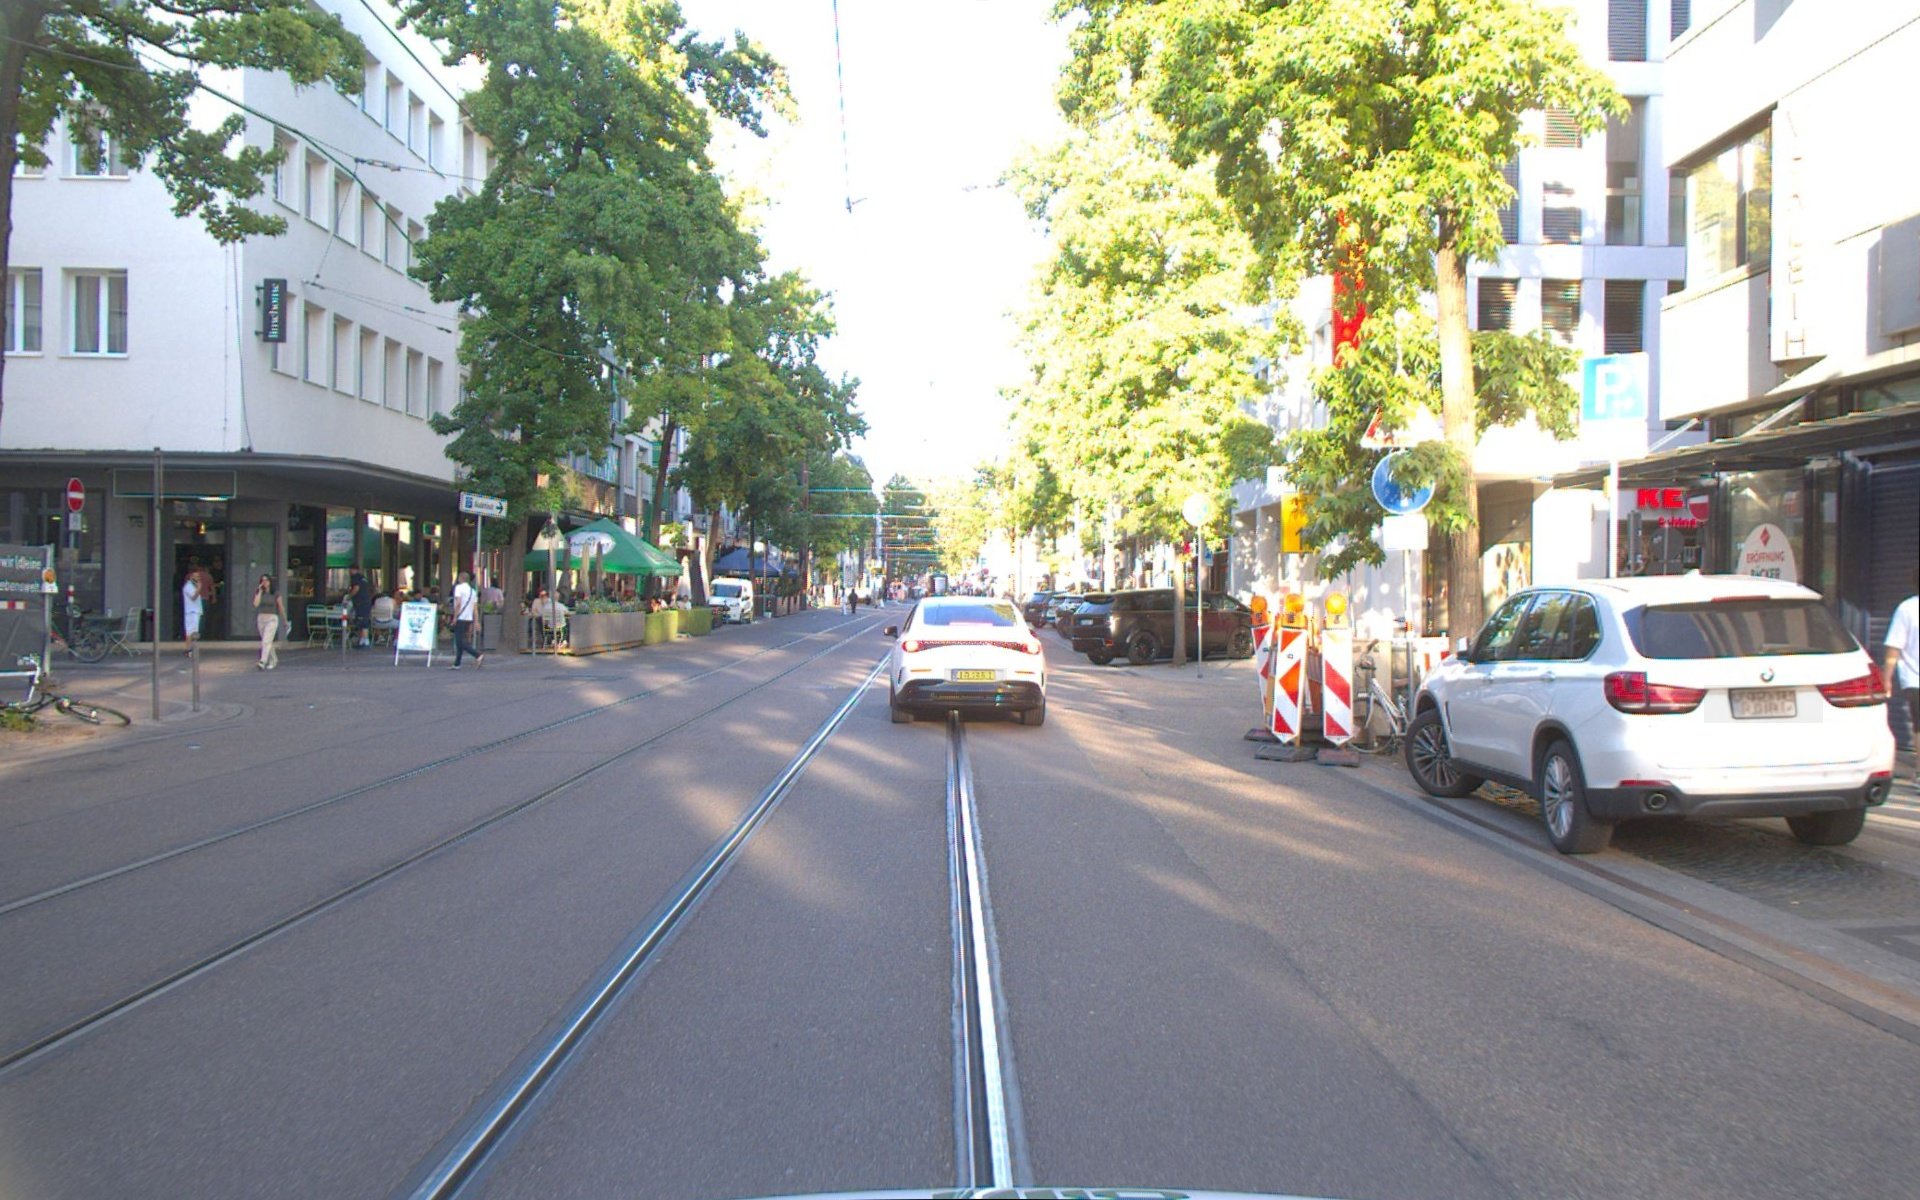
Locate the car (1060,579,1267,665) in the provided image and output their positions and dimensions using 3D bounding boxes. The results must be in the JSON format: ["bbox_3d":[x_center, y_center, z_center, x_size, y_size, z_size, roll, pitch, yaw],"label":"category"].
[{"bbox_3d":[4.861,0.489,39.355,4.603,1.794,1.974,-2,0,-30],"label":"car"}]

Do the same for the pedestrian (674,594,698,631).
[{"bbox_3d":[-9.494,0.422,57.313,0.643,1.214,0.798,3,0,-1],"label":"pedestrian"}]

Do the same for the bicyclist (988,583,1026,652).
[{"bbox_3d":[1.141,0.417,40.336,0.761,1.641,0.913,2,0,8],"label":"bicyclist"}]

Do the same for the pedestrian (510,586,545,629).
[{"bbox_3d":[-13.317,0.220,50.919,0.761,1.258,0.945,3,0,-1],"label":"pedestrian"}]

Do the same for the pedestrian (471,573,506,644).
[{"bbox_3d":[-11.552,0.194,40.525,0.606,1.699,0.697,2,0,-1],"label":"pedestrian"}]

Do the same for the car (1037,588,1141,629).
[{"bbox_3d":[5.615,0.346,71.942,4.195,1.615,1.864,-2,1,-32],"label":"car"}]

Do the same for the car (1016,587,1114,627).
[{"bbox_3d":[4.837,0.303,75.930,4.300,1.681,1.676,-2,0,-32],"label":"car"}]

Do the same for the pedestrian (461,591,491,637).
[{"bbox_3d":[-12.958,0.367,44.295,0.541,1.182,0.687,2,0,0],"label":"pedestrian"}]

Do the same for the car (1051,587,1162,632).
[{"bbox_3d":[5.730,0.346,64.557,4.110,1.598,1.832,-2,1,-34],"label":"car"}]

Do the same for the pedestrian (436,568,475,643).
[{"bbox_3d":[-12.262,0.131,40.193,0.664,1.787,0.697,2,0,1],"label":"pedestrian"}]

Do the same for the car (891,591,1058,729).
[{"bbox_3d":[0.141,0.657,20.423,1.819,1.480,4.174,1,0,-1],"label":"car"}]

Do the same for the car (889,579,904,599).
[{"bbox_3d":[-9.401,-1.647,245.716,1.953,2.948,5.274,0,0,0],"label":"car"}]

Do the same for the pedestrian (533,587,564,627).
[{"bbox_3d":[-13.264,0.232,53.326,0.721,1.235,0.788,3,0,-1],"label":"pedestrian"}]

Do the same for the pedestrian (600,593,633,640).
[{"bbox_3d":[-9.599,0.465,46.257,0.693,1.281,0.772,2,0,2],"label":"pedestrian"}]

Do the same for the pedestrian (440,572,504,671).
[{"bbox_3d":[-8.926,0.379,30.282,0.778,1.771,0.867,1,1,15],"label":"pedestrian"}]

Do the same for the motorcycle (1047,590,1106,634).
[{"bbox_3d":[4.325,0.439,61.327,2.302,1.536,0.845,-2,0,-45],"label":"motorcycle"}]

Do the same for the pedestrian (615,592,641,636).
[{"bbox_3d":[-10.070,0.419,50.194,0.606,1.266,0.697,3,0,-1],"label":"pedestrian"}]

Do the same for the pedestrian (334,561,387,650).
[{"bbox_3d":[-12.767,0.121,35.240,0.670,1.847,0.764,2,0,15],"label":"pedestrian"}]

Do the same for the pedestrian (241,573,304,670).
[{"bbox_3d":[-12.095,0.367,29.139,0.692,1.685,0.967,0,1,1],"label":"pedestrian"}]

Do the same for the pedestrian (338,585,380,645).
[{"bbox_3d":[-13.515,0.332,37.213,0.631,1.291,0.738,2,0,0],"label":"pedestrian"}]

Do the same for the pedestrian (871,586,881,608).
[{"bbox_3d":[-6.750,-0.246,133.263,0.771,1.832,0.844,1,0,0],"label":"pedestrian"}]

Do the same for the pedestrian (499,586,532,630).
[{"bbox_3d":[-13.362,0.236,49.728,0.721,1.253,0.788,3,0,-1],"label":"pedestrian"}]

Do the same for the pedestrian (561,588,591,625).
[{"bbox_3d":[-13.198,0.225,56.842,0.737,1.209,1.065,3,0,-1],"label":"pedestrian"}]

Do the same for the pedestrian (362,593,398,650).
[{"bbox_3d":[-13.318,0.491,37.990,0.541,1.257,0.687,2,0,0],"label":"pedestrian"}]

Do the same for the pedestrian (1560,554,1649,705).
[{"bbox_3d":[8.464,0.377,21.745,0.816,1.930,0.918,-1,0,2],"label":"pedestrian"}]

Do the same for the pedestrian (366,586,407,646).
[{"bbox_3d":[-12.867,0.358,37.145,0.614,1.304,0.727,2,0,0],"label":"pedestrian"}]

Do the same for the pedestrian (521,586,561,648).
[{"bbox_3d":[-9.748,0.389,38.524,0.675,1.410,0.807,2,0,0],"label":"pedestrian"}]

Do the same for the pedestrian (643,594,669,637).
[{"bbox_3d":[-9.238,0.460,50.332,0.606,1.266,0.697,3,0,-1],"label":"pedestrian"}]

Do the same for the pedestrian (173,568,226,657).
[{"bbox_3d":[-14.451,0.226,31.451,0.783,1.642,0.862,1,2,-17],"label":"pedestrian"}]

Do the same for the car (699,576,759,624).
[{"bbox_3d":[-9.775,-0.009,70.303,1.759,1.897,4.554,3,0,0],"label":"car"}]

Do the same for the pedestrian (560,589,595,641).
[{"bbox_3d":[-10.198,0.390,44.119,0.675,1.334,0.807,2,0,0],"label":"pedestrian"}]

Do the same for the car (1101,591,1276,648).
[{"bbox_3d":[6.521,0.541,47.215,4.587,1.451,1.921,-2,0,-22],"label":"car"}]

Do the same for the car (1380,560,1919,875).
[{"bbox_3d":[4.800,0.663,12.131,1.982,1.768,4.905,-2,0,-2],"label":"car"}]

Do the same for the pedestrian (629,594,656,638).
[{"bbox_3d":[-9.487,0.475,49.444,0.606,1.266,0.697,3,0,-1],"label":"pedestrian"}]
